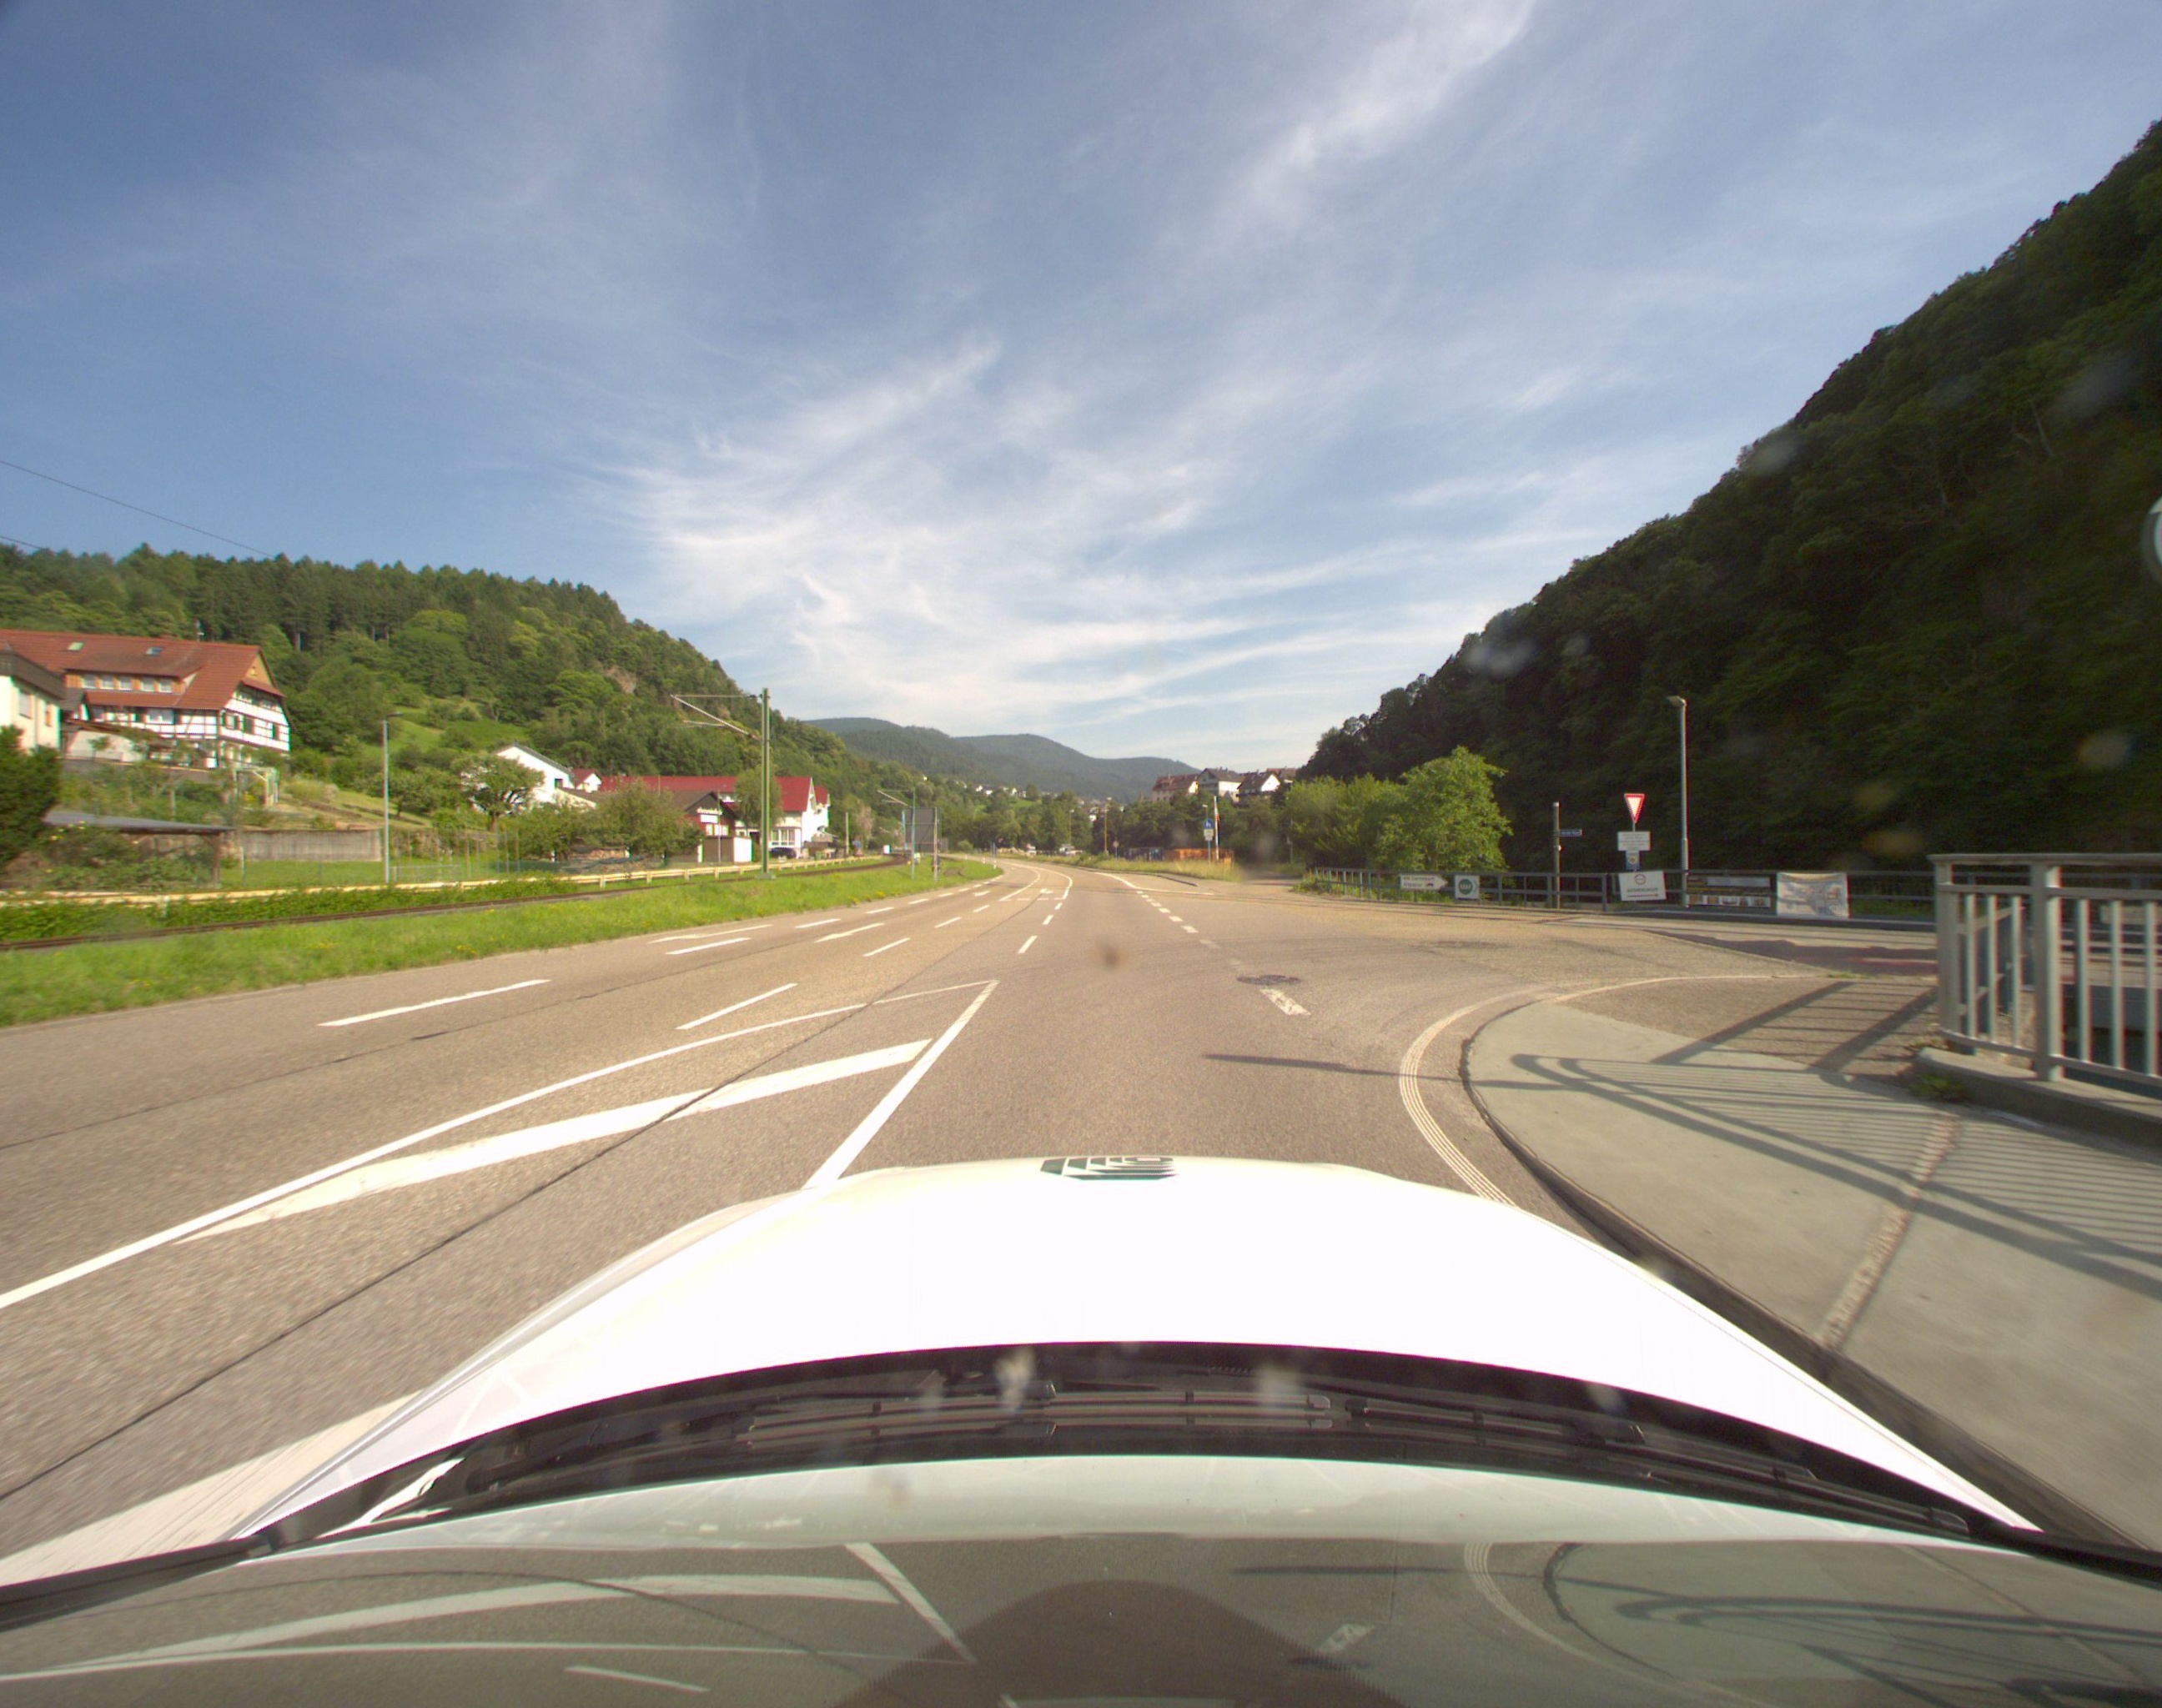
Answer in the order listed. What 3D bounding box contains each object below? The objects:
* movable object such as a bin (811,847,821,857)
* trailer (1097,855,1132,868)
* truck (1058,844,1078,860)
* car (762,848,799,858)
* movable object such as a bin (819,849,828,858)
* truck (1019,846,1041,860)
[{"bbox_3d":[-32.354,-0.240,99.522,1.142,1.192,1.087,0,0,-16],"label":"movable object such as a bin"},{"bbox_3d":[4.346,0.969,108.181,2.791,1.474,9.857,1,0,-9],"label":"trailer"},{"bbox_3d":[-3.360,-0.502,204.825,3.108,3.782,8.601,0,0,-15],"label":"truck"},{"bbox_3d":[-38.084,-0.099,103.391,4.093,1.270,1.731,0,0,-9],"label":"car"},{"bbox_3d":[-35.364,-0.097,111.769,1.090,1.192,1.139,0,0,-10],"label":"movable object such as a bin"},{"bbox_3d":[-13.916,-0.356,221.402,3.117,3.782,8.577,0,0,-24],"label":"truck"}]
